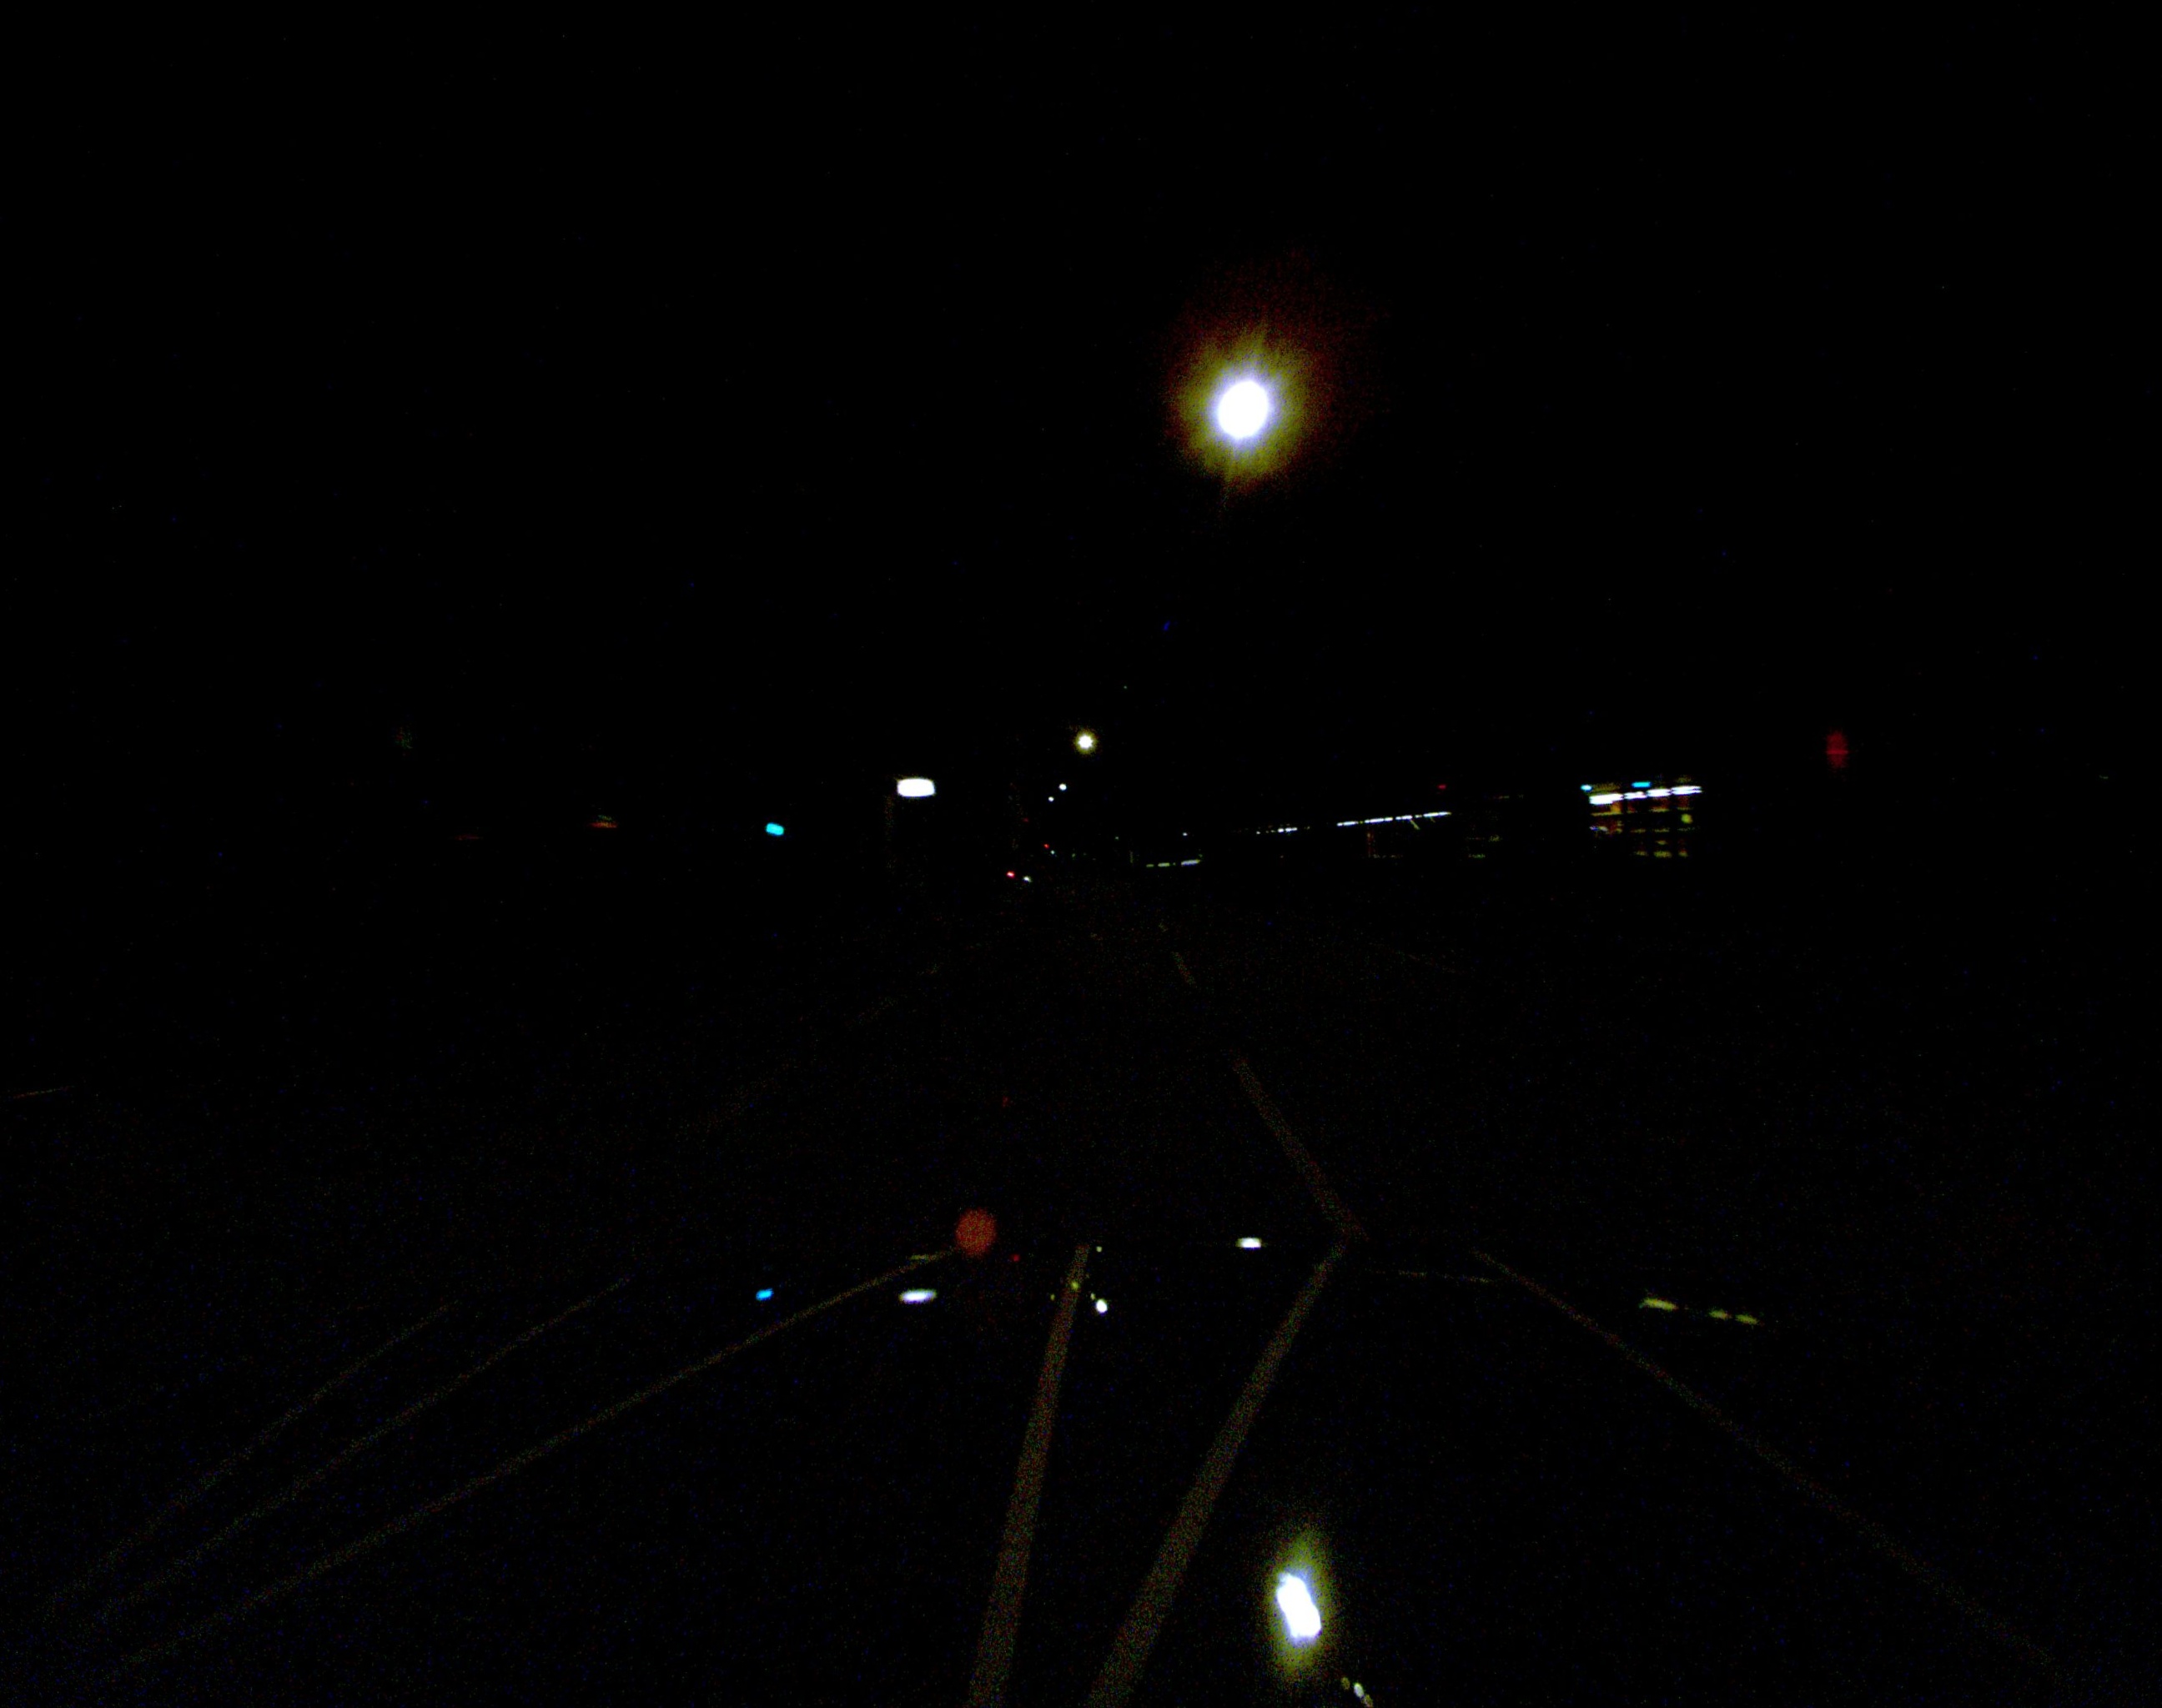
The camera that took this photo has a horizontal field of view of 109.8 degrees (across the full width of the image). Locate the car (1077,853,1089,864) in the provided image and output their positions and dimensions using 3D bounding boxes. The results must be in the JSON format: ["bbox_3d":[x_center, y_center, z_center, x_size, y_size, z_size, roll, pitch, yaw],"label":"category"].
[{"bbox_3d":[0.283,0.677,119.294,1.826,1.637,3.730,-2,0,-2],"label":"car"}]

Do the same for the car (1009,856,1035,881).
[{"bbox_3d":[-4.470,1.090,57.344,1.781,1.762,4.420,-2,0,-6],"label":"car"}]

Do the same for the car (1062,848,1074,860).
[{"bbox_3d":[-2.849,-0.002,163.211,2.005,2.493,4.952,-6,0,-5],"label":"car"}]

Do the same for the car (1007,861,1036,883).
[{"bbox_3d":[-4.016,1.204,51.781,1.781,1.351,4.421,-2,0,-2],"label":"car"}]

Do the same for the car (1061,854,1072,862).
[{"bbox_3d":[-2.850,0.775,152.427,1.827,1.423,3.729,-6,0,-5],"label":"car"}]

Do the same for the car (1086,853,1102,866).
[{"bbox_3d":[1.656,0.735,97.288,1.826,1.423,3.730,-6,0,-2],"label":"car"}]

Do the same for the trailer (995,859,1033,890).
[{"bbox_3d":[-3.596,1.083,41.404,1.604,1.486,3.733,-4,0,1],"label":"trailer"}]

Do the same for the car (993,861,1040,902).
[{"bbox_3d":[-2.671,1.106,31.981,1.591,1.452,3.796,-4,0,-1],"label":"car"}]

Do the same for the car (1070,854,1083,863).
[{"bbox_3d":[-0.851,0.810,133.932,1.827,1.423,3.729,-6,0,-5],"label":"car"}]

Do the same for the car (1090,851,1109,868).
[{"bbox_3d":[2.189,0.640,91.567,1.883,1.798,3.730,-6,0,-2],"label":"car"}]
